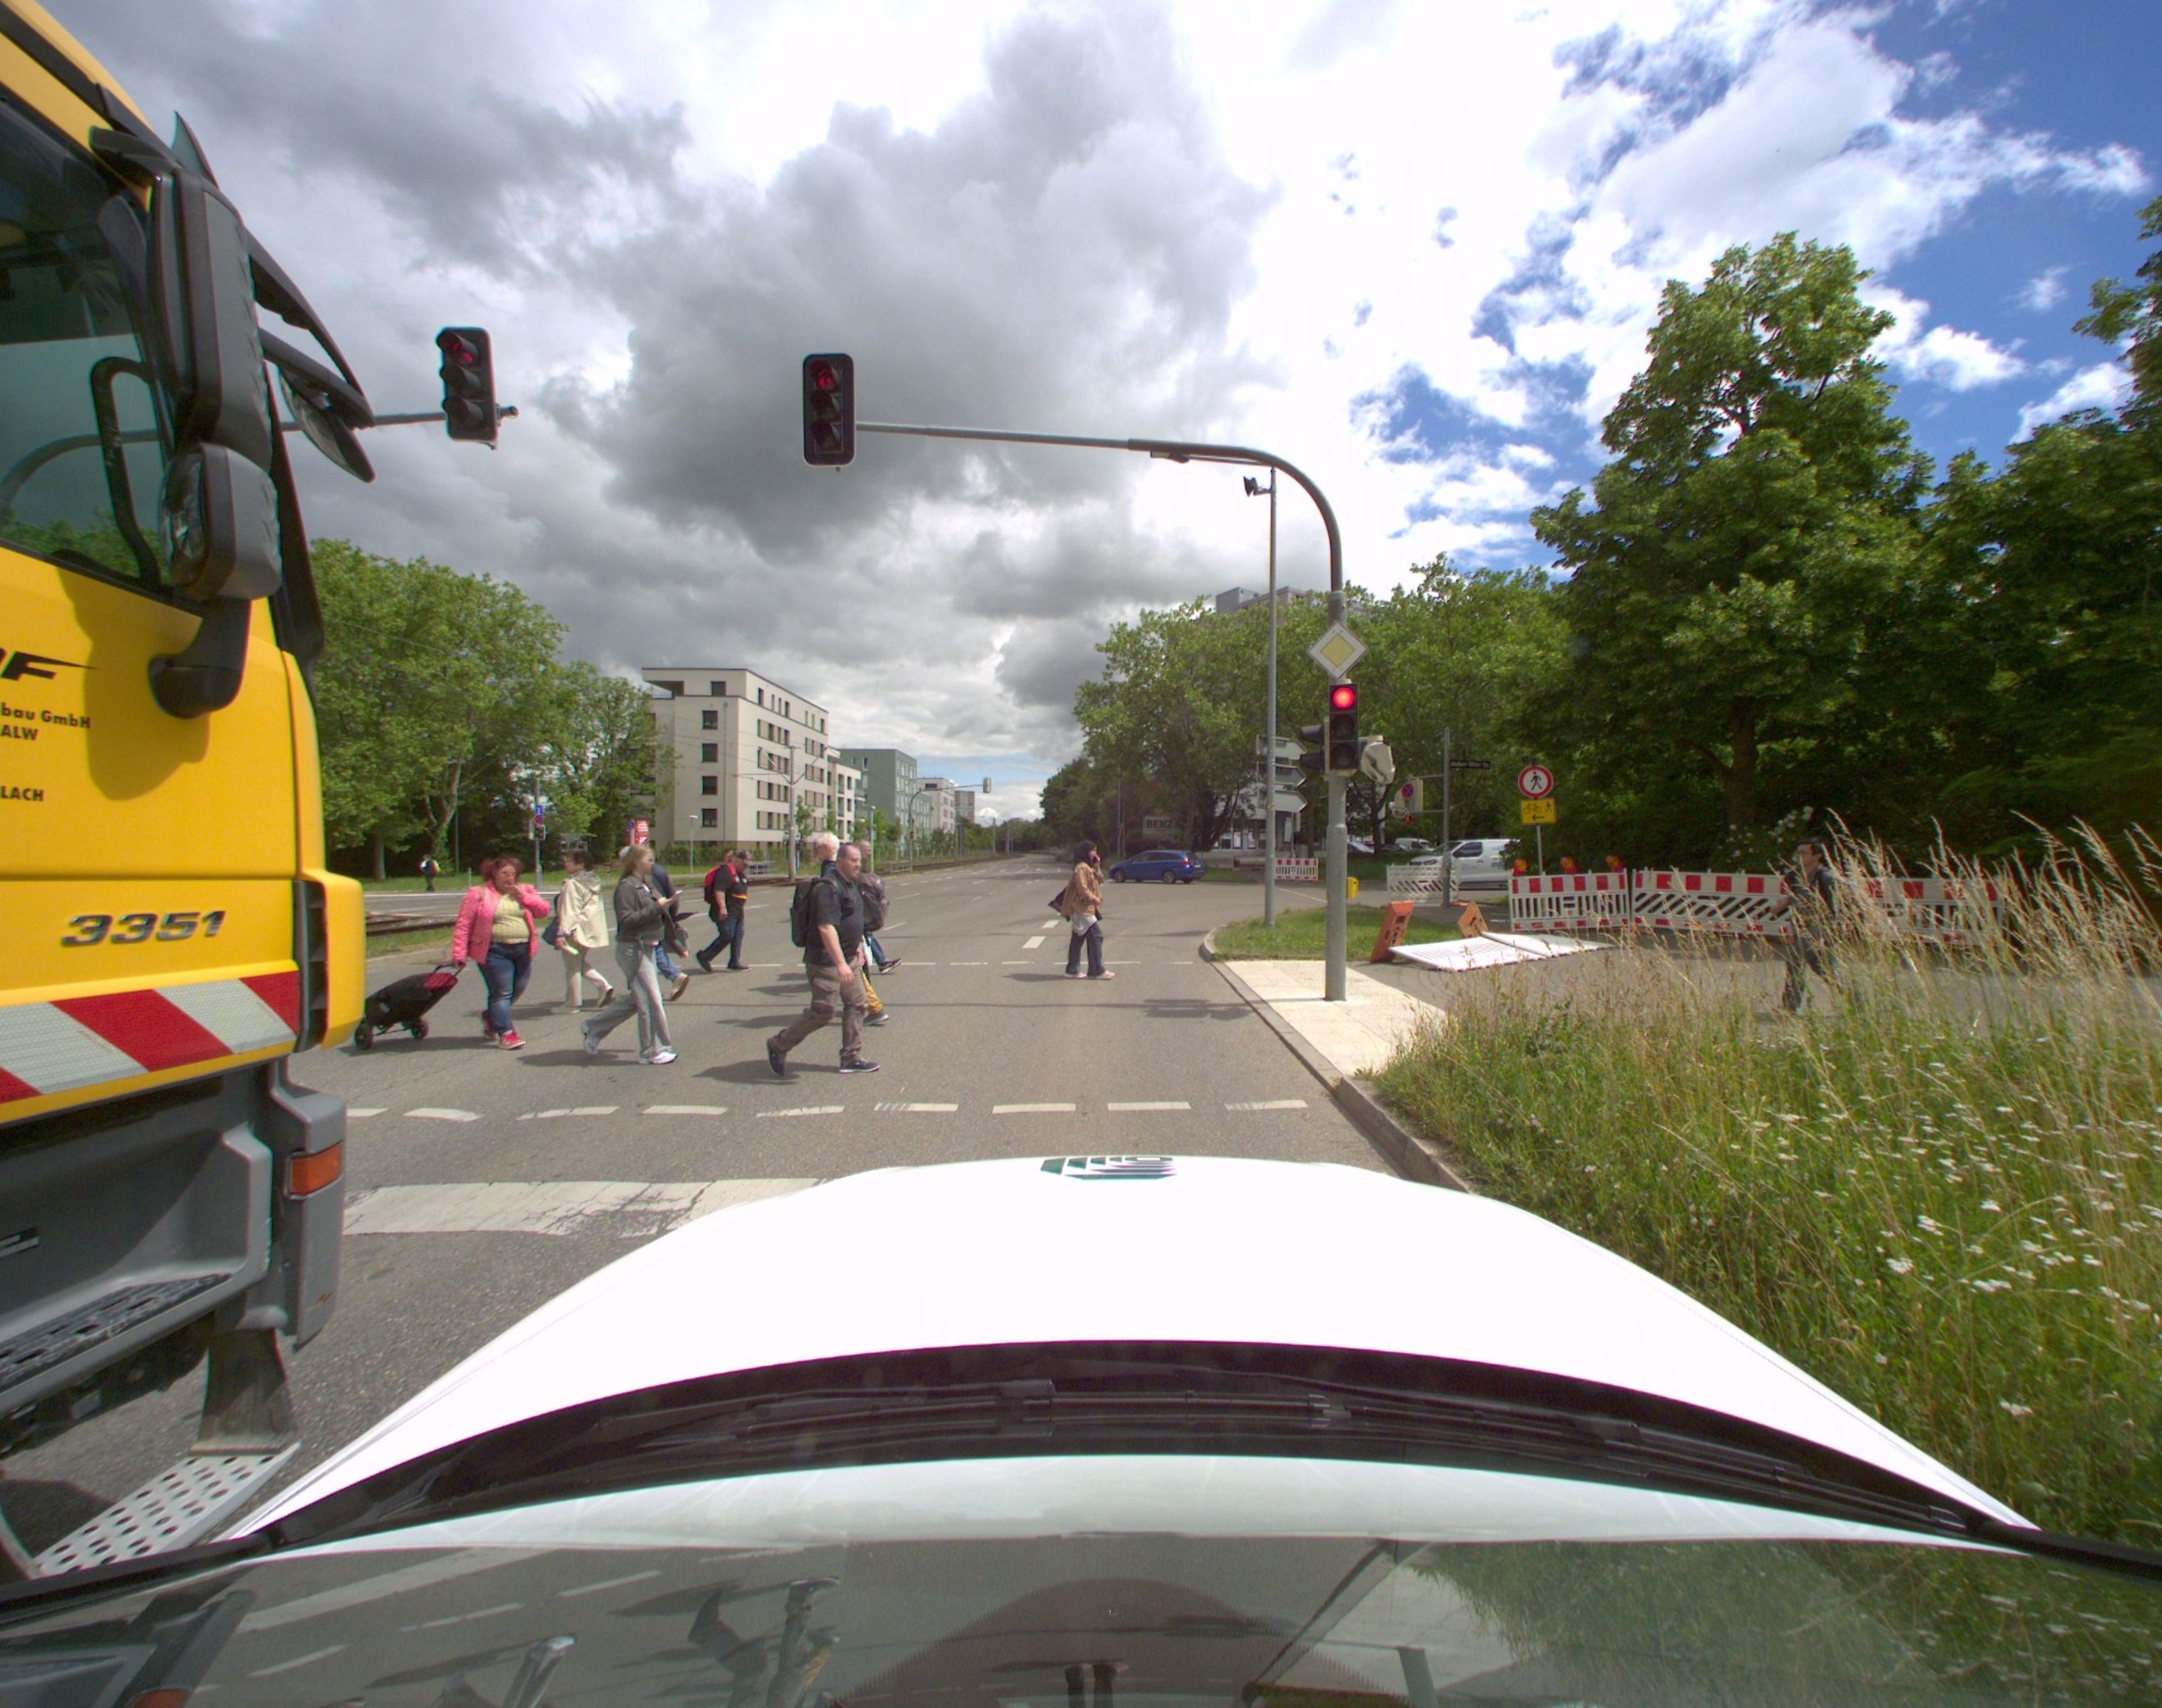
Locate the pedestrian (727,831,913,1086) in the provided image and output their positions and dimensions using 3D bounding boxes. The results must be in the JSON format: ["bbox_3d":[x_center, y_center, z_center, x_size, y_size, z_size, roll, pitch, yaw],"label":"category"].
[{"bbox_3d":[-1.797,0.677,5.744,0.954,1.648,0.882,-1,0,5],"label":"pedestrian"}]

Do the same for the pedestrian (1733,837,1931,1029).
[{"bbox_3d":[6.471,0.639,7.068,0.943,1.552,0.843,-1,0,-2],"label":"pedestrian"}]

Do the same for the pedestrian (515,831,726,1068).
[{"bbox_3d":[-3.417,0.665,6.139,1.016,1.648,0.930,-1,0,3],"label":"pedestrian"}]

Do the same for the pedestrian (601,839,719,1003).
[{"bbox_3d":[-4.400,0.665,8.571,0.867,1.634,0.764,-1,0,-7],"label":"pedestrian"}]

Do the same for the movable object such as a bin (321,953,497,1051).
[{"bbox_3d":[-5.523,1.203,6.745,0.792,0.662,0.778,-1,0,2],"label":"movable object such as a bin"}]

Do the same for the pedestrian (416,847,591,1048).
[{"bbox_3d":[-4.705,0.722,6.687,0.877,1.554,0.747,-1,0,2],"label":"pedestrian"}]

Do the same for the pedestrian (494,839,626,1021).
[{"bbox_3d":[-4.932,0.682,7.763,0.822,1.640,0.731,0,0,-9],"label":"pedestrian"}]

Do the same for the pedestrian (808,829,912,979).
[{"bbox_3d":[-2.731,0.595,10.166,0.998,1.773,0.930,-1,0,2],"label":"pedestrian"}]

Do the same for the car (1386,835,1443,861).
[{"bbox_3d":[27.317,-0.493,66.859,2.006,2.013,3.962,-1,0,-29],"label":"car"}]

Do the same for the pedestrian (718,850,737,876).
[{"bbox_3d":[-20.873,0.517,48.106,0.827,1.516,0.636,-1,0,1],"label":"pedestrian"}]

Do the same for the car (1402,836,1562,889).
[{"bbox_3d":[14.916,0.304,30.450,5.063,1.874,1.947,-1,0,-2],"label":"car"}]

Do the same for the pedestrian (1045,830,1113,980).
[{"bbox_3d":[-0.022,0.590,9.919,0.779,1.742,0.828,-1,0,-1],"label":"pedestrian"}]

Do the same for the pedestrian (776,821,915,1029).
[{"bbox_3d":[-2.125,0.608,7.493,1.007,1.774,0.947,-1,0,-3],"label":"pedestrian"}]

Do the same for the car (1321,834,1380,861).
[{"bbox_3d":[20.571,-0.482,62.245,2.006,2.013,3.962,-1,0,-29],"label":"car"}]

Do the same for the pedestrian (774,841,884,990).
[{"bbox_3d":[-2.846,0.663,9.278,0.909,1.607,0.930,-1,0,3],"label":"pedestrian"}]

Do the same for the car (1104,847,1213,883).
[{"bbox_3d":[3.446,0.468,36.515,4.432,1.486,2.001,0,0,36],"label":"car"}]

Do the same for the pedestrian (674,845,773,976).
[{"bbox_3d":[-4.547,0.684,10.441,0.891,1.596,0.906,-1,0,-5],"label":"pedestrian"}]

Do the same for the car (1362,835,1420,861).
[{"bbox_3d":[24.603,-0.489,64.725,2.006,2.013,3.962,-1,0,-29],"label":"car"}]
